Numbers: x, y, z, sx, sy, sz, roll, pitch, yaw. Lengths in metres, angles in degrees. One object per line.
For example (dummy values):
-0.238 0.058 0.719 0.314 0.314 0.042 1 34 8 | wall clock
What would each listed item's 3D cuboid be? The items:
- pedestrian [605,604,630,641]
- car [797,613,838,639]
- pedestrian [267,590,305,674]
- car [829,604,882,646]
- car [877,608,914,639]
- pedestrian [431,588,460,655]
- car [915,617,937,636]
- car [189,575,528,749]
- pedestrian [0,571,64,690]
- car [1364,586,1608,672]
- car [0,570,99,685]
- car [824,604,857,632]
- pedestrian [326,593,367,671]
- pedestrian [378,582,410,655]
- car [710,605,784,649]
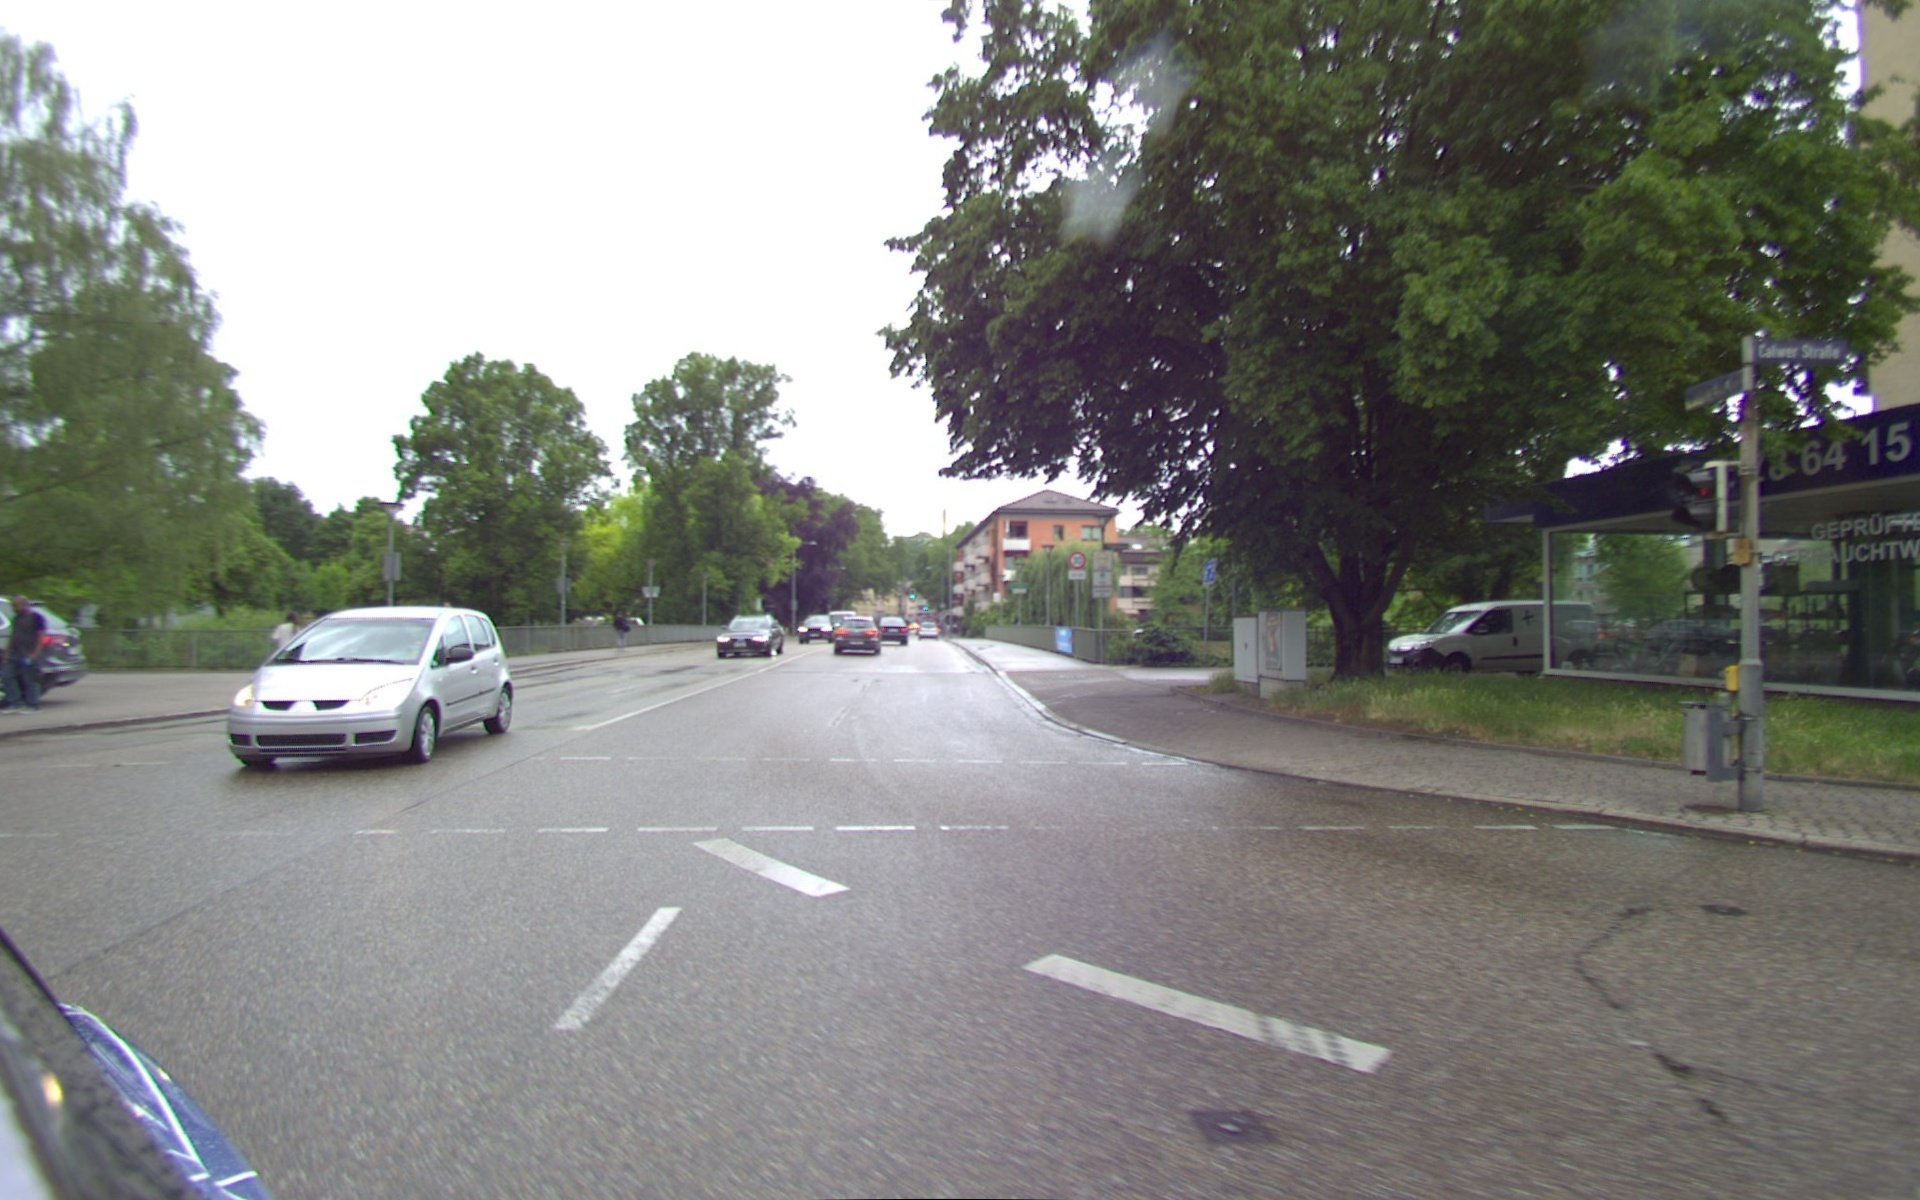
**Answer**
-13.941 0.909 41.229 0.779 1.485 0.706 0 -1 0 | pedestrian
-8.178 1.479 58.203 1.971 1.448 4.002 0 0 -3 | car
-12.892 0.613 19.357 0.535 1.580 0.431 1 -2 -42 | pedestrian
-3.877 0.937 38.137 1.733 1.498 4.008 0 -1 -2 | car
-3.406 1.237 53.967 1.805 1.601 4.325 0 -1 -2 | car
-14.069 0.585 27.669 0.494 1.817 0.505 0 -1 22 | pedestrian
-2.775 2.163 82.616 1.658 1.517 3.953 0 -1 -3 | car
-6.182 0.524 10.991 1.726 1.530 4.007 0 1 -7 | car
-13.251 0.427 14.312 0.610 1.651 0.582 0 -1 2 | pedestrian
11.995 0.655 23.225 4.668 1.844 1.986 0 -1 -9 | car
-15.466 0.352 14.675 4.208 1.660 1.765 2 -1 -29 | car
-8.847 1.339 75.407 2.185 2.017 4.378 0 -1 -3 | car
-12.610 0.653 20.807 0.643 1.580 0.431 1 -2 -42 | pedestrian
-14.267 0.471 25.498 0.475 1.817 0.552 0 -1 37 | pedestrian
-7.575 0.924 36.405 1.970 1.474 4.510 0 -1 -4 | car
